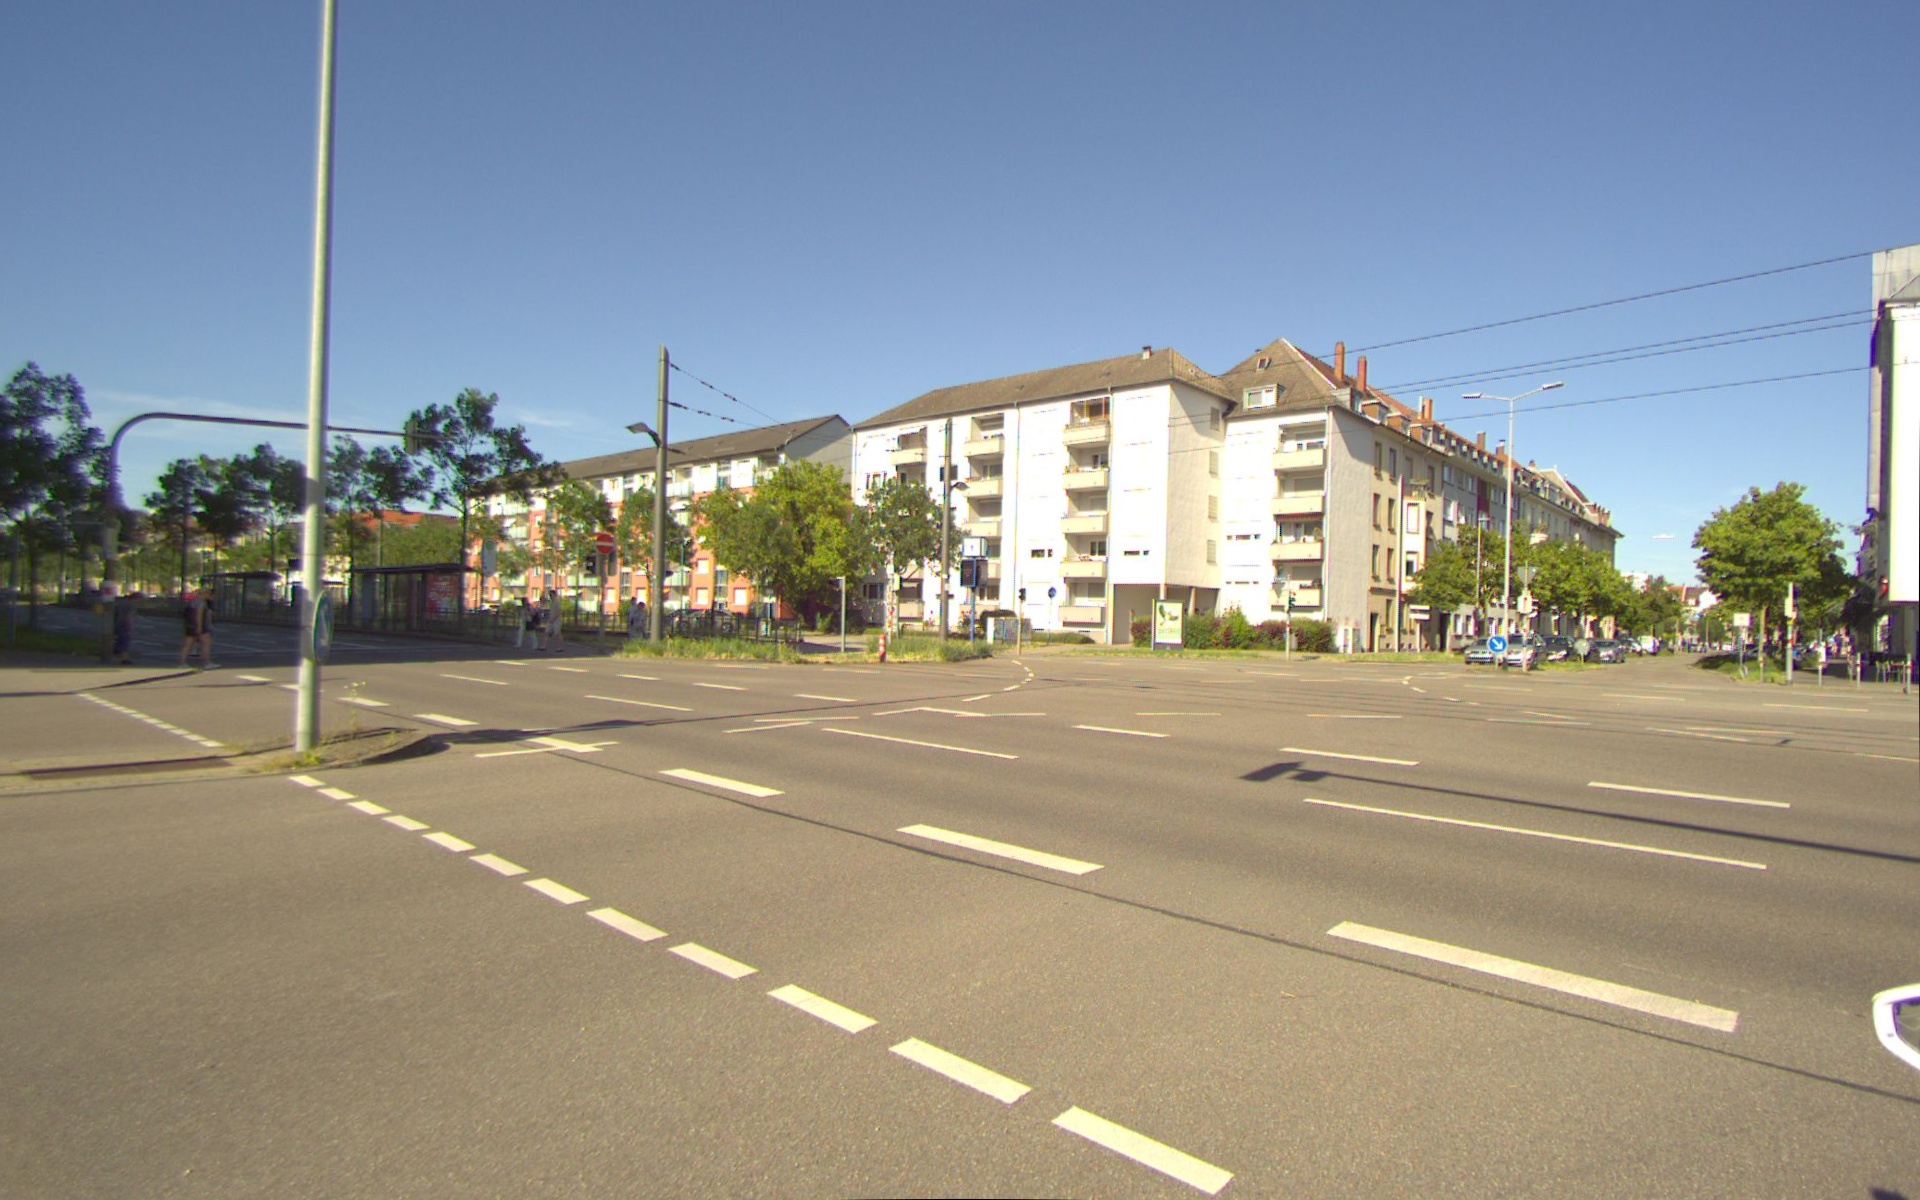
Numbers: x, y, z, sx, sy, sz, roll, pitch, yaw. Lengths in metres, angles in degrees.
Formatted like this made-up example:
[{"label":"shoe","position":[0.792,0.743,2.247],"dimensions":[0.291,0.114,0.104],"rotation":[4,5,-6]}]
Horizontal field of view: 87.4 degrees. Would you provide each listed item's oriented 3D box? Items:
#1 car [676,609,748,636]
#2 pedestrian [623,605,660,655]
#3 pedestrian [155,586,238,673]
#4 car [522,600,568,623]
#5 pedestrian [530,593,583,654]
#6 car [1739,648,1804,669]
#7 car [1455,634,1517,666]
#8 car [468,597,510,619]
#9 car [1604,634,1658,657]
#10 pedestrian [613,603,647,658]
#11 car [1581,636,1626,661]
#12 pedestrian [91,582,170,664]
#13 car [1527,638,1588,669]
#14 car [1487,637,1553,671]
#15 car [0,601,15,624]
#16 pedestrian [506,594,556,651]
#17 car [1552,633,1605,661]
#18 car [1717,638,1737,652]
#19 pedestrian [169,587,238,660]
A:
[{"label":"car","position":[-16.060,1.452,65.268],"dimensions":[4.321,1.451,1.690],"rotation":[4,0,-10]},{"label":"pedestrian","position":[-10.202,0.964,32.174],"dimensions":[0.715,1.554,0.855],"rotation":[1,-1,37]},{"label":"pedestrian","position":[-15.912,0.604,20.944],"dimensions":[0.800,1.749,1.150],"rotation":[1,-1,37]},{"label":"car","position":[-35.241,0.963,85.180],"dimensions":[3.940,1.873,1.991],"rotation":[0,-2,40]},{"label":"pedestrian","position":[-12.267,0.720,30.542],"dimensions":[0.909,1.794,1.150],"rotation":[1,-1,37]},{"label":"car","position":[57.997,4.178,71.811],"dimensions":[3.525,1.239,1.723],"rotation":[2,-2,40]},{"label":"car","position":[27.343,2.596,52.130],"dimensions":[1.670,1.451,4.374],"rotation":[4,0,44]},{"label":"car","position":[-43.121,0.741,91.939],"dimensions":[3.940,1.873,1.991],"rotation":[0,-2,40]},{"label":"car","position":[69.109,4.679,103.444],"dimensions":[4.451,2.040,1.991],"rotation":[2,-2,40]},{"label":"pedestrian","position":[-10.934,1.006,33.336],"dimensions":[0.798,1.749,1.153],"rotation":[1,-1,-6]},{"label":"car","position":[41.136,3.116,64.190],"dimensions":[1.669,1.451,4.376],"rotation":[4,0,43]},{"label":"pedestrian","position":[-18.194,0.512,22.046],"dimensions":[0.800,1.749,1.150],"rotation":[1,-1,37]},{"label":"car","position":[31.614,2.812,53.102],"dimensions":[4.372,1.451,1.671],"rotation":[3,0,-45]},{"label":"car","position":[27.000,2.584,48.361],"dimensions":[1.670,1.451,4.374],"rotation":[4,0,43]},{"label":"car","position":[-66.828,0.837,69.435],"dimensions":[3.940,1.540,1.773],"rotation":[0,-2,40]},{"label":"pedestrian","position":[-13.286,0.699,31.134],"dimensions":[0.800,1.749,1.150],"rotation":[1,-1,37]},{"label":"car","position":[35.541,2.716,57.694],"dimensions":[1.670,1.451,4.374],"rotation":[4,0,44]},{"label":"car","position":[108.731,6.437,142.336],"dimensions":[1.971,1.779,4.498],"rotation":[2,-2,41]},{"label":"pedestrian","position":[-18.835,0.582,25.011],"dimensions":[0.800,1.749,1.150],"rotation":[1,-1,37]}]
